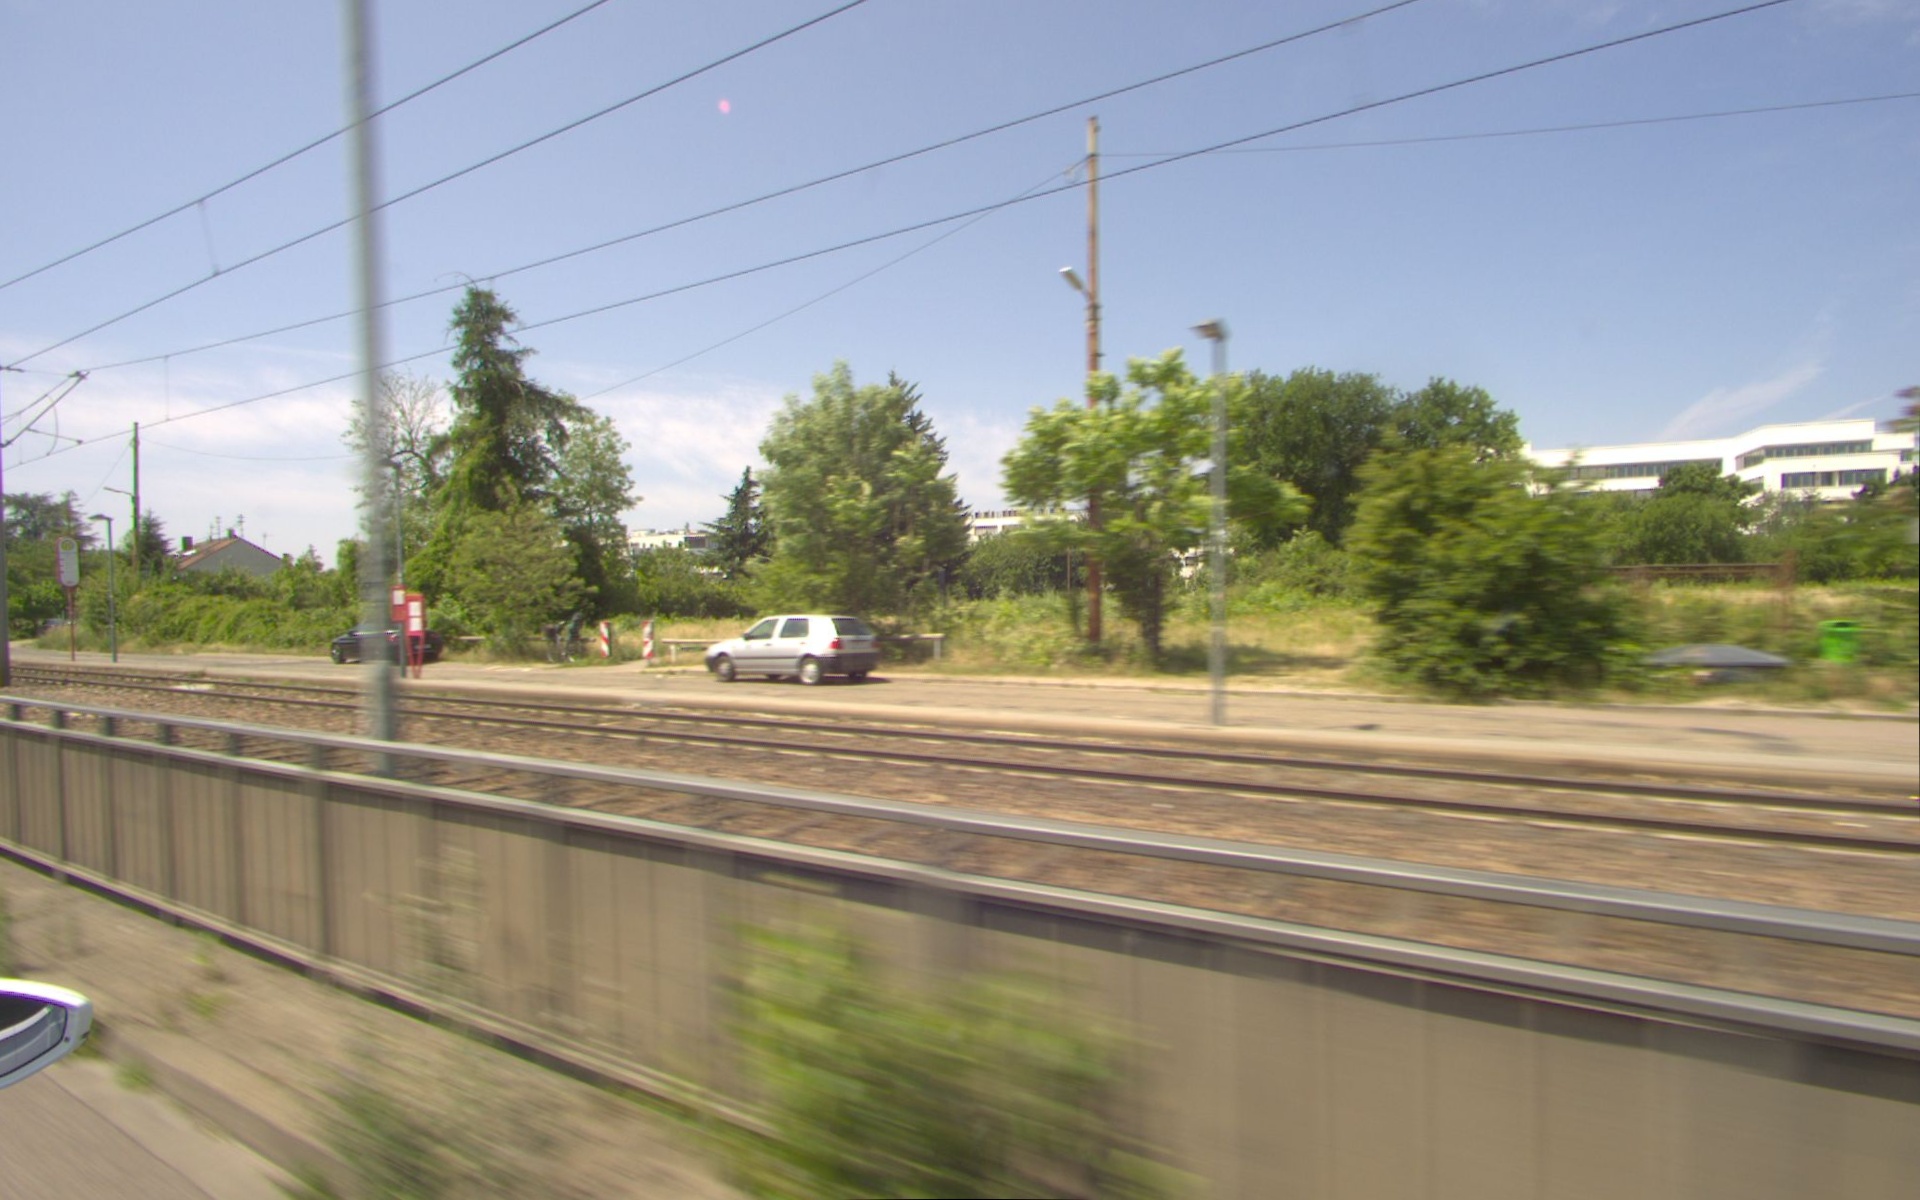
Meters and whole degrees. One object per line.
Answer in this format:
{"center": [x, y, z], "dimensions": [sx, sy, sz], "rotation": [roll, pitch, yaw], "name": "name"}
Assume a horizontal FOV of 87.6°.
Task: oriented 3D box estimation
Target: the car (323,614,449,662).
{"center": [-18.551, 1.198, 32.278], "dimensions": [4.806, 1.440, 1.616], "rotation": [-1, -1, 34], "name": "car"}

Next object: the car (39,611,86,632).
{"center": [-64.089, 1.551, 71.526], "dimensions": [3.689, 1.437, 1.715], "rotation": [-1, -1, 35], "name": "car"}

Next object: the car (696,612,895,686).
{"center": [-3.544, 0.990, 21.397], "dimensions": [3.944, 1.440, 1.935], "rotation": [-1, -1, 33], "name": "car"}

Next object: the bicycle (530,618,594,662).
{"center": [-12.079, 1.214, 30.406], "dimensions": [1.647, 1.286, 0.704], "rotation": [-1, 1, -1], "name": "bicycle"}
